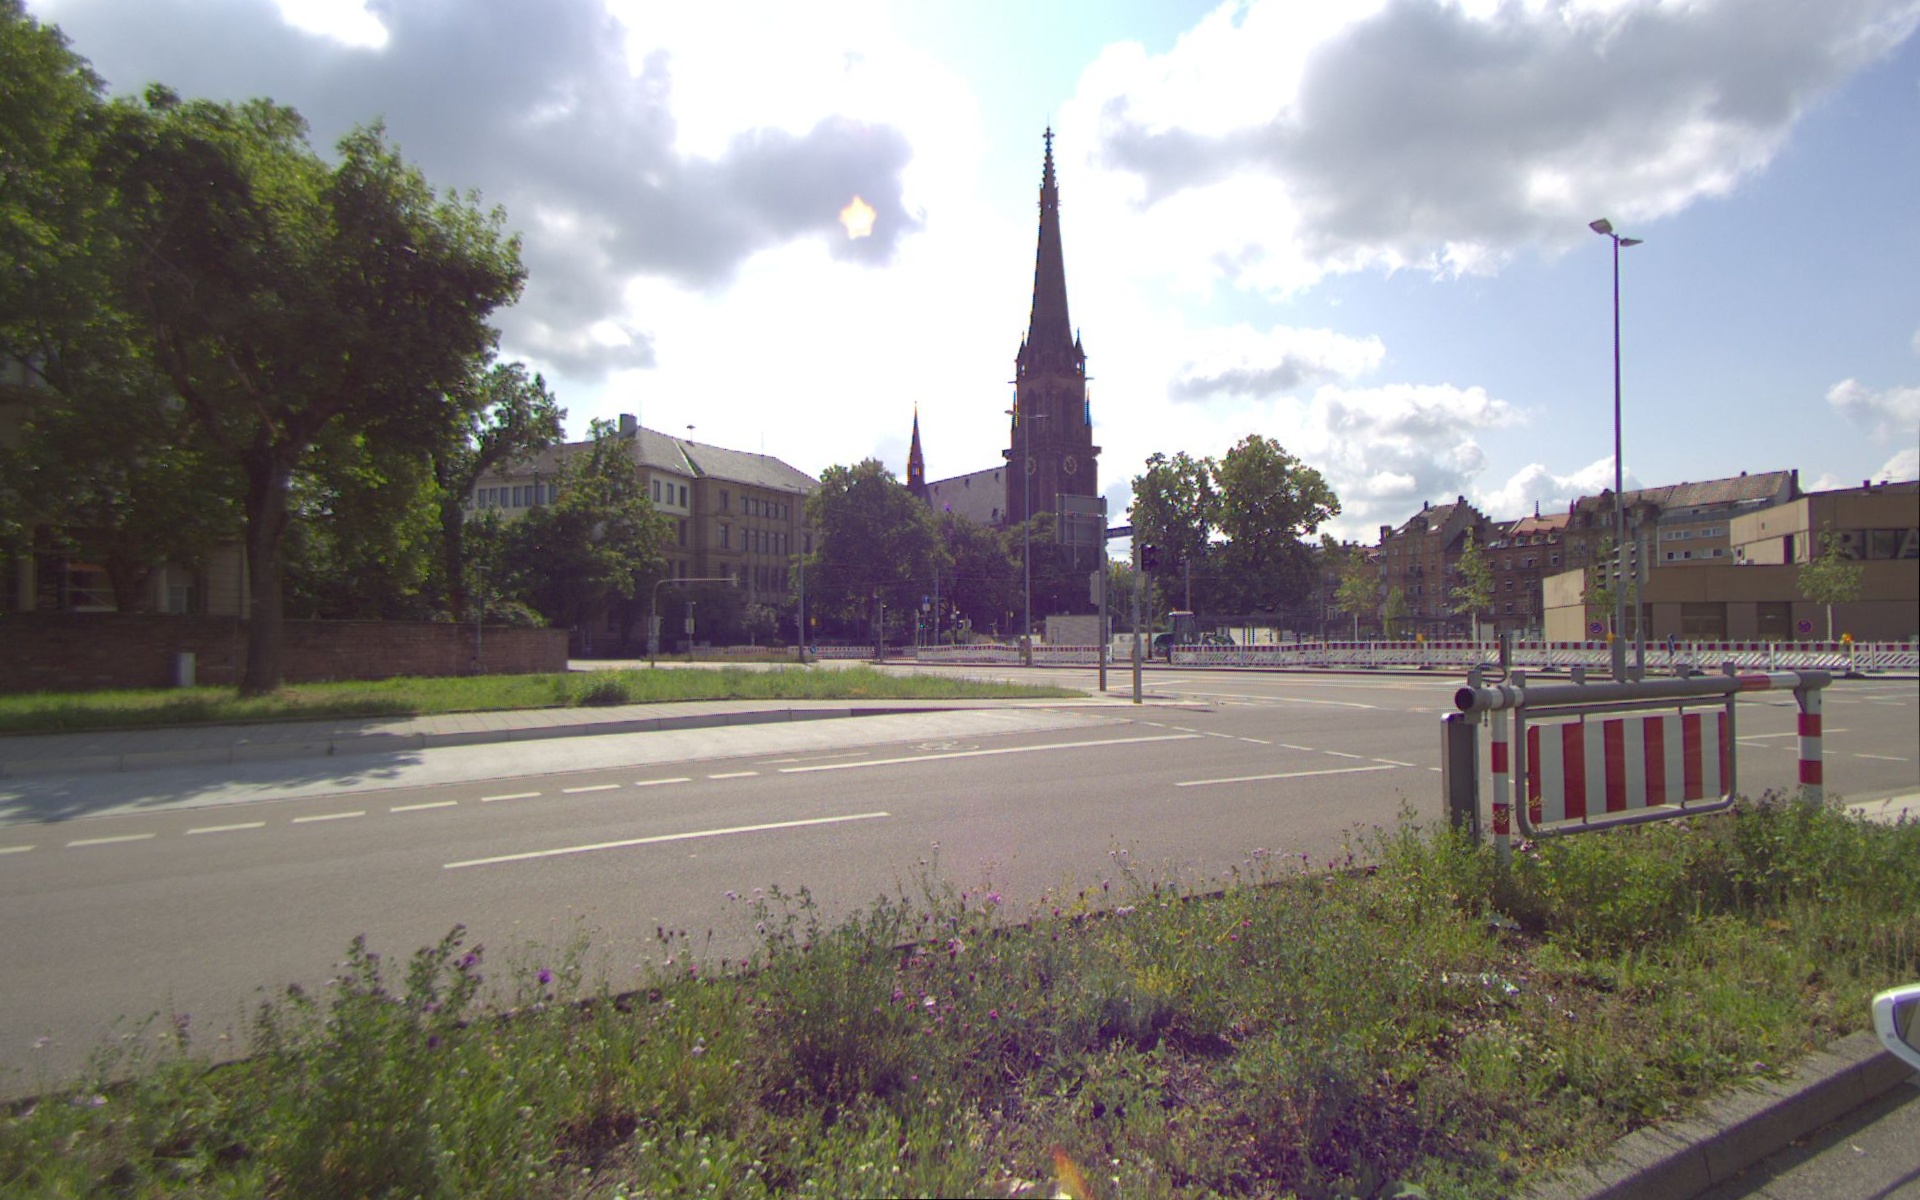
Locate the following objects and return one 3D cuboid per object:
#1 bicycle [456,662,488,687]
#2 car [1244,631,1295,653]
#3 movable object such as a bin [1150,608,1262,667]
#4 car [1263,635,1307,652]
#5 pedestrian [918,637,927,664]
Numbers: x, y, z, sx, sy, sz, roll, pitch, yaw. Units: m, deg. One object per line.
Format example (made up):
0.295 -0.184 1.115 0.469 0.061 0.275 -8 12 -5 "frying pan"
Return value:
-20.474 3.115 42.158 0.386 1.005 1.524 0 -2 10 "bicycle"
26.487 3.591 85.934 4.098 1.906 1.803 -1 -2 20 "car"
12.517 1.922 51.481 5.430 2.922 2.290 -1 -2 12 "movable object such as a bin"
35.042 4.674 108.283 4.293 1.817 1.781 -1 -2 29 "car"
-2.611 3.521 70.140 0.492 1.874 0.526 1 -2 -25 "pedestrian"
